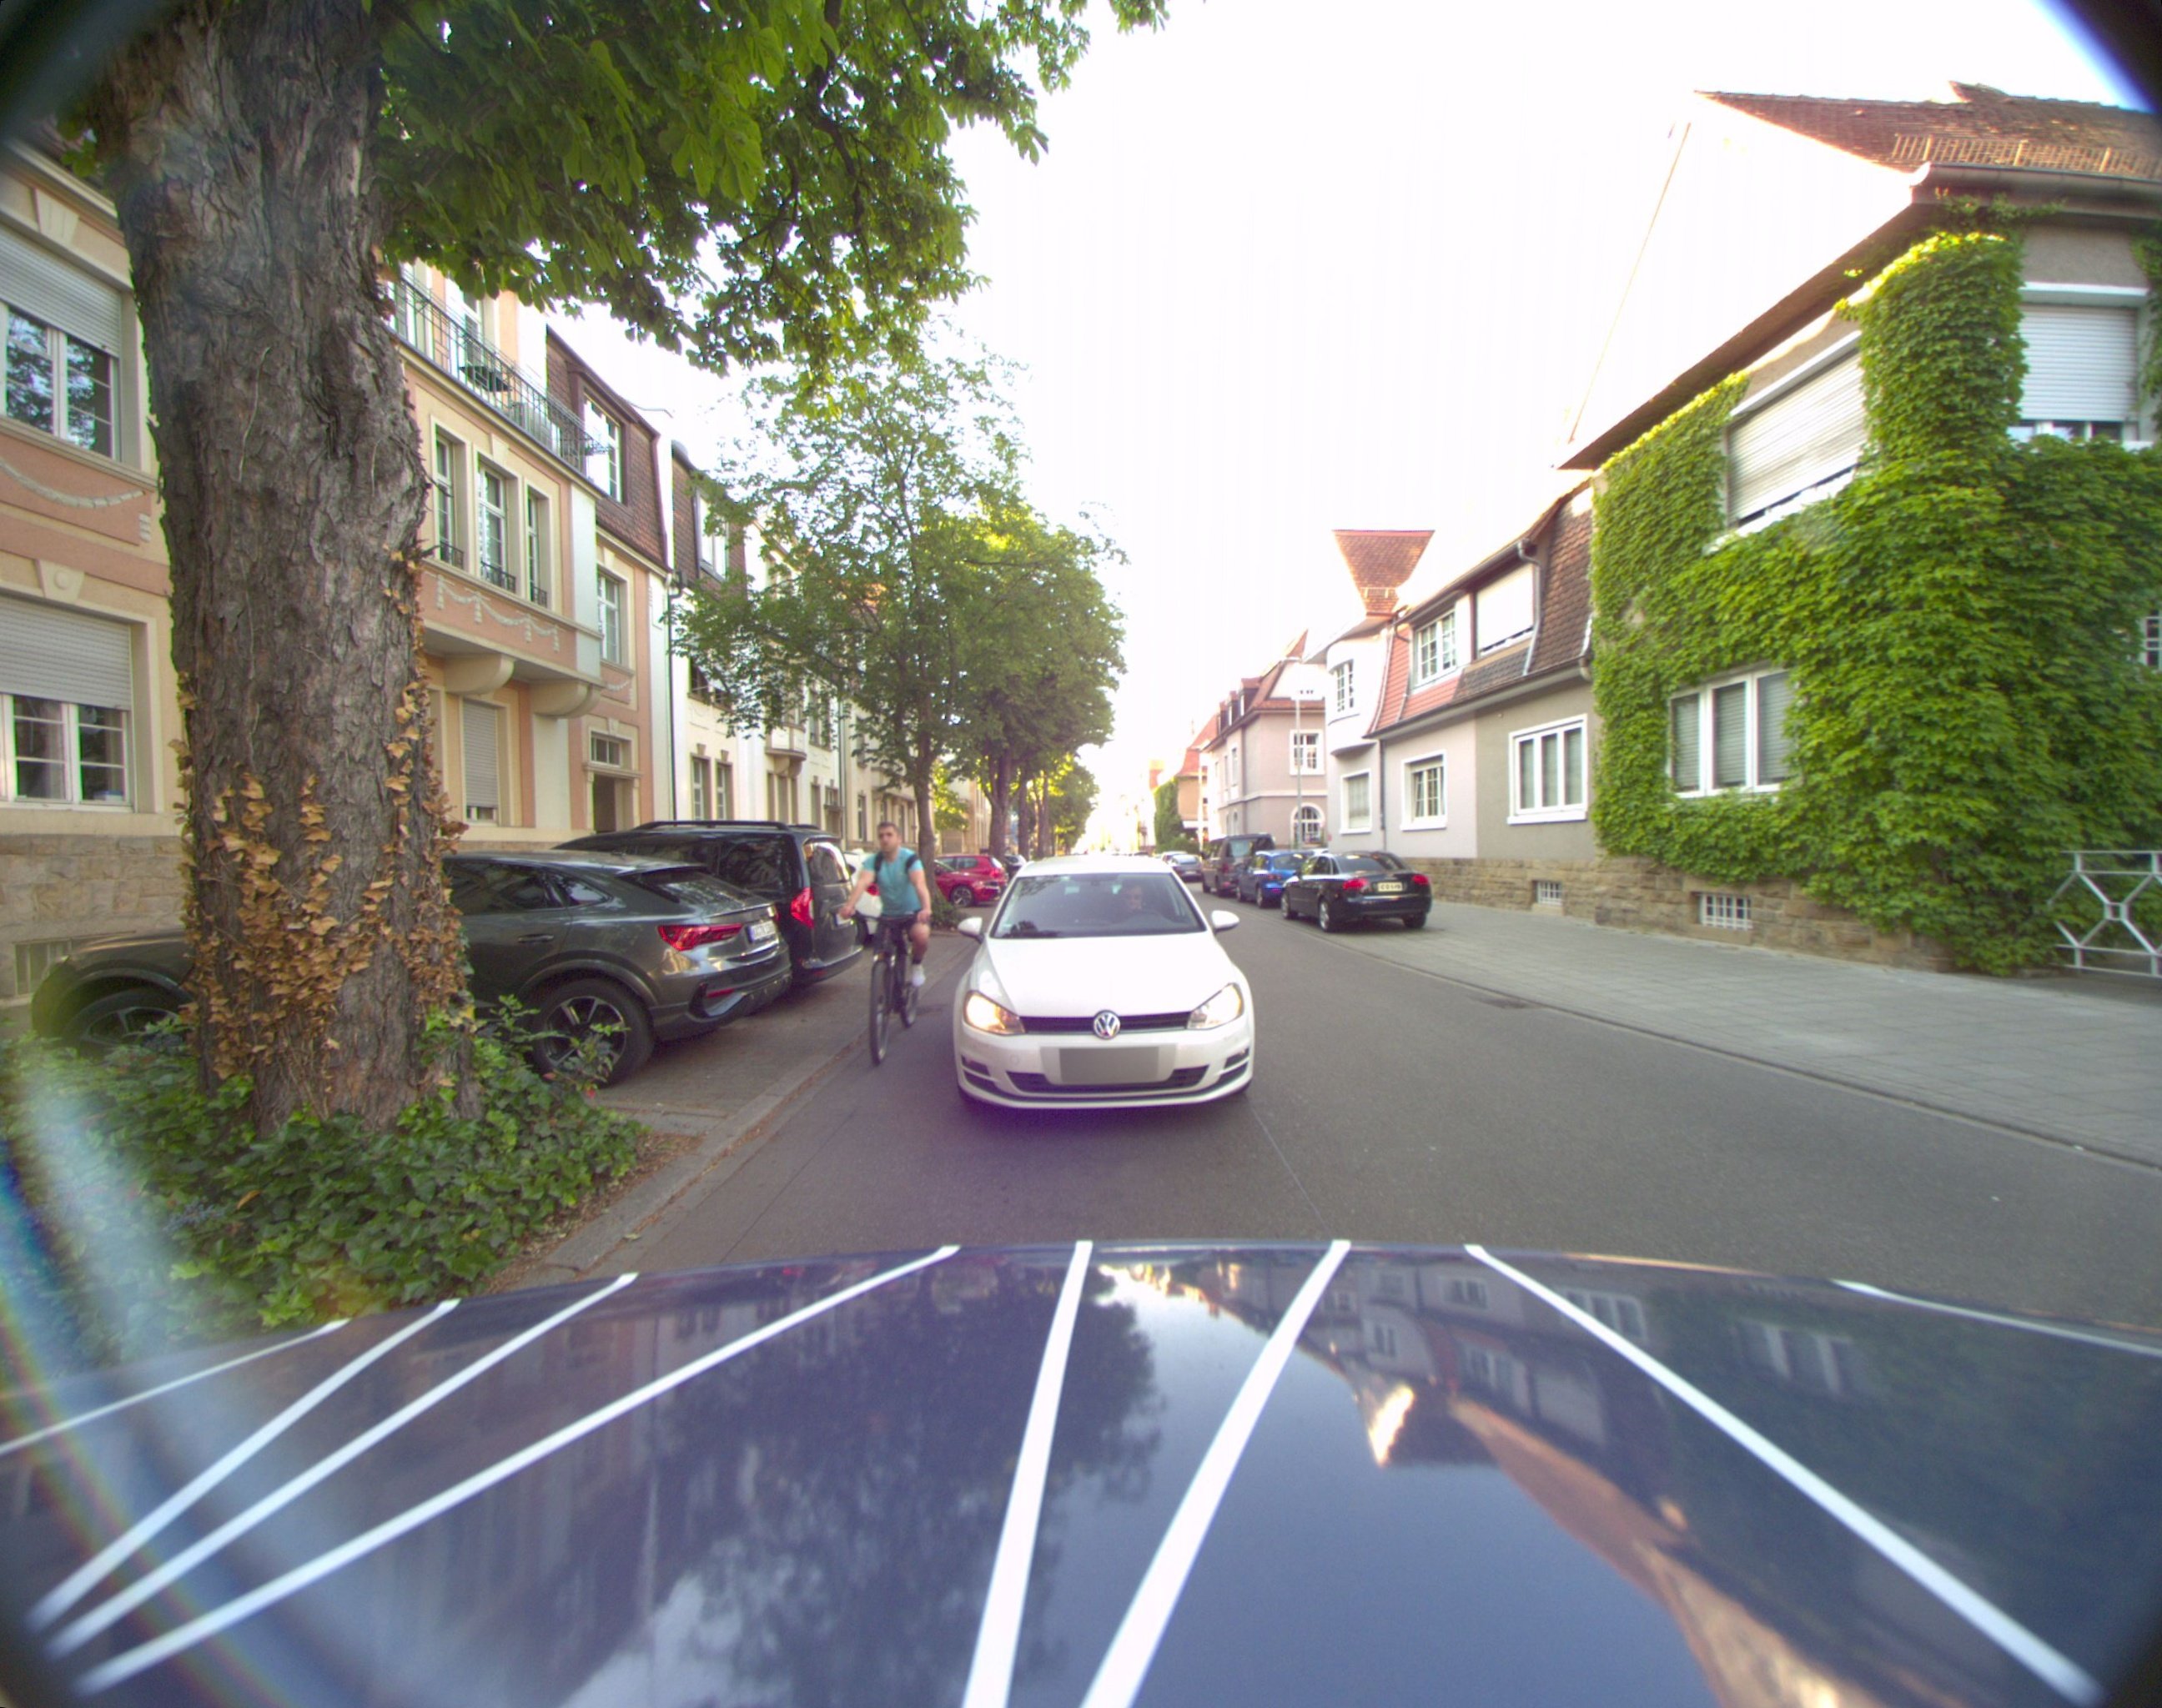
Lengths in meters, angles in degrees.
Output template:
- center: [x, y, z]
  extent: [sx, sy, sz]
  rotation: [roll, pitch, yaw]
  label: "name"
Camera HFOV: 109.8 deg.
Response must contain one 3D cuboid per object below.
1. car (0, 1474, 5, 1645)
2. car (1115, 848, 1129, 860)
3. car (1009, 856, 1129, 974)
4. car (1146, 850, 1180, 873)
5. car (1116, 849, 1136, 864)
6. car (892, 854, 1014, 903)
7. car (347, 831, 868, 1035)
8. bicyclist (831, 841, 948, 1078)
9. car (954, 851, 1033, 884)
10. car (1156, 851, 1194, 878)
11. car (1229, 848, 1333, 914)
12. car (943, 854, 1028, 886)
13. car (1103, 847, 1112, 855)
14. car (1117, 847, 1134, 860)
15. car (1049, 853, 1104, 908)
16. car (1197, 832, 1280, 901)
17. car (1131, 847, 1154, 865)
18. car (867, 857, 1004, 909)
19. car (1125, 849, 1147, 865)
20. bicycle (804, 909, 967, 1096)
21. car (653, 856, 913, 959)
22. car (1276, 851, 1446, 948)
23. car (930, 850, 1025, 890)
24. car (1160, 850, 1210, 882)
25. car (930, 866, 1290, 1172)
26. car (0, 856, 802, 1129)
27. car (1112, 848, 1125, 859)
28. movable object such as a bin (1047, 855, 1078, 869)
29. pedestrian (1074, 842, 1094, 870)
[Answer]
- center: [-4.667, 0.790, 0.510]
  extent: [4.835, 1.814, 1.880]
  rotation: [1, 1, -4]
  label: "car"
- center: [5.456, -0.062, 101.392]
  extent: [1.643, 1.461, 3.689]
  rotation: [-3, 0, 0]
  label: "car"
- center: [-0.140, 0.834, 12.250]
  extent: [1.600, 1.546, 4.000]
  rotation: [1, 0, 1]
  label: "car"
- center: [5.442, 0.457, 50.655]
  extent: [1.719, 1.363, 3.945]
  rotation: [-3, 0, 0]
  label: "car"
- center: [4.749, 0.241, 80.961]
  extent: [1.643, 1.461, 3.688]
  rotation: [-3, 0, -4]
  label: "car"
- center: [-4.046, 0.760, 24.335]
  extent: [3.622, 1.456, 1.537]
  rotation: [1, 1, 0]
  label: "car"
- center: [-4.443, 0.707, 7.655]
  extent: [4.173, 1.816, 1.594]
  rotation: [1, 1, -4]
  label: "car"
- center: [-1.511, 0.792, 6.117]
  extent: [0.648, 1.765, 0.830]
  rotation: [-2, 1, 1]
  label: "bicyclist"
- center: [-4.203, 0.637, 36.836]
  extent: [3.622, 1.555, 1.537]
  rotation: [0, 1, 0]
  label: "car"
- center: [5.152, 0.534, 42.170]
  extent: [1.541, 1.363, 3.945]
  rotation: [-3, 0, 0]
  label: "car"
- center: [5.231, 0.631, 20.388]
  extent: [1.611, 1.455, 4.023]
  rotation: [-4, 1, 0]
  label: "car"
- center: [-4.233, 0.718, 34.133]
  extent: [3.622, 1.395, 1.537]
  rotation: [0, 1, 0]
  label: "car"
- center: [5.231, -0.544, 148.995]
  extent: [1.643, 1.461, 3.689]
  rotation: [-3, 0, 0]
  label: "car"
- center: [5.340, -0.039, 91.239]
  extent: [1.643, 1.461, 3.689]
  rotation: [-3, 0, -1]
  label: "car"
- center: [-0.098, 0.765, 23.577]
  extent: [1.560, 1.546, 3.738]
  rotation: [1, 0, 1]
  label: "car"
- center: [5.121, 0.345, 25.231]
  extent: [1.719, 1.961, 4.310]
  rotation: [-4, 1, 0]
  label: "car"
- center: [5.489, 0.168, 68.214]
  extent: [1.643, 1.461, 3.945]
  rotation: [-3, 0, 0]
  label: "car"
- center: [-4.105, 0.799, 21.811]
  extent: [3.622, 1.395, 1.537]
  rotation: [1, 1, 0]
  label: "car"
- center: [5.411, 0.283, 75.347]
  extent: [1.643, 1.461, 3.688]
  rotation: [-3, 0, -4]
  label: "car"
- center: [-1.488, 1.090, 6.204]
  extent: [0.744, 1.111, 2.013]
  rotation: [-2, 0, 1]
  label: "bicycle"
- center: [-4.693, 0.823, 12.336]
  extent: [3.623, 1.541, 1.537]
  rotation: [1, 1, -4]
  label: "car"
- center: [5.090, 0.742, 14.441]
  extent: [1.751, 1.421, 4.023]
  rotation: [-4, 1, 1]
  label: "car"
- center: [-4.174, 0.635, 30.939]
  extent: [3.622, 1.555, 1.537]
  rotation: [0, 1, 0]
  label: "car"
- center: [4.978, 0.549, 36.900]
  extent: [1.719, 1.363, 4.334]
  rotation: [-3, 0, 0]
  label: "car"
- center: [0.114, 0.879, 5.928]
  extent: [1.799, 1.420, 4.023]
  rotation: [-2, 0, -1]
  label: "car"
- center: [-4.363, 0.841, 5.409]
  extent: [4.173, 1.583, 1.594]
  rotation: [1, 1, -4]
  label: "car"
- center: [5.714, -0.078, 115.923]
  extent: [1.643, 1.461, 3.689]
  rotation: [-3, 0, 0]
  label: "car"
- center: [-1.321, 0.577, 54.192]
  extent: [1.946, 0.943, 1.431]
  rotation: [1, 0, -15]
  label: "movable object such as a bin"
- center: [0.203, 0.165, 54.738]
  extent: [1.190, 2.002, 0.930]
  rotation: [1, 1, -13]
  label: "pedestrian"
